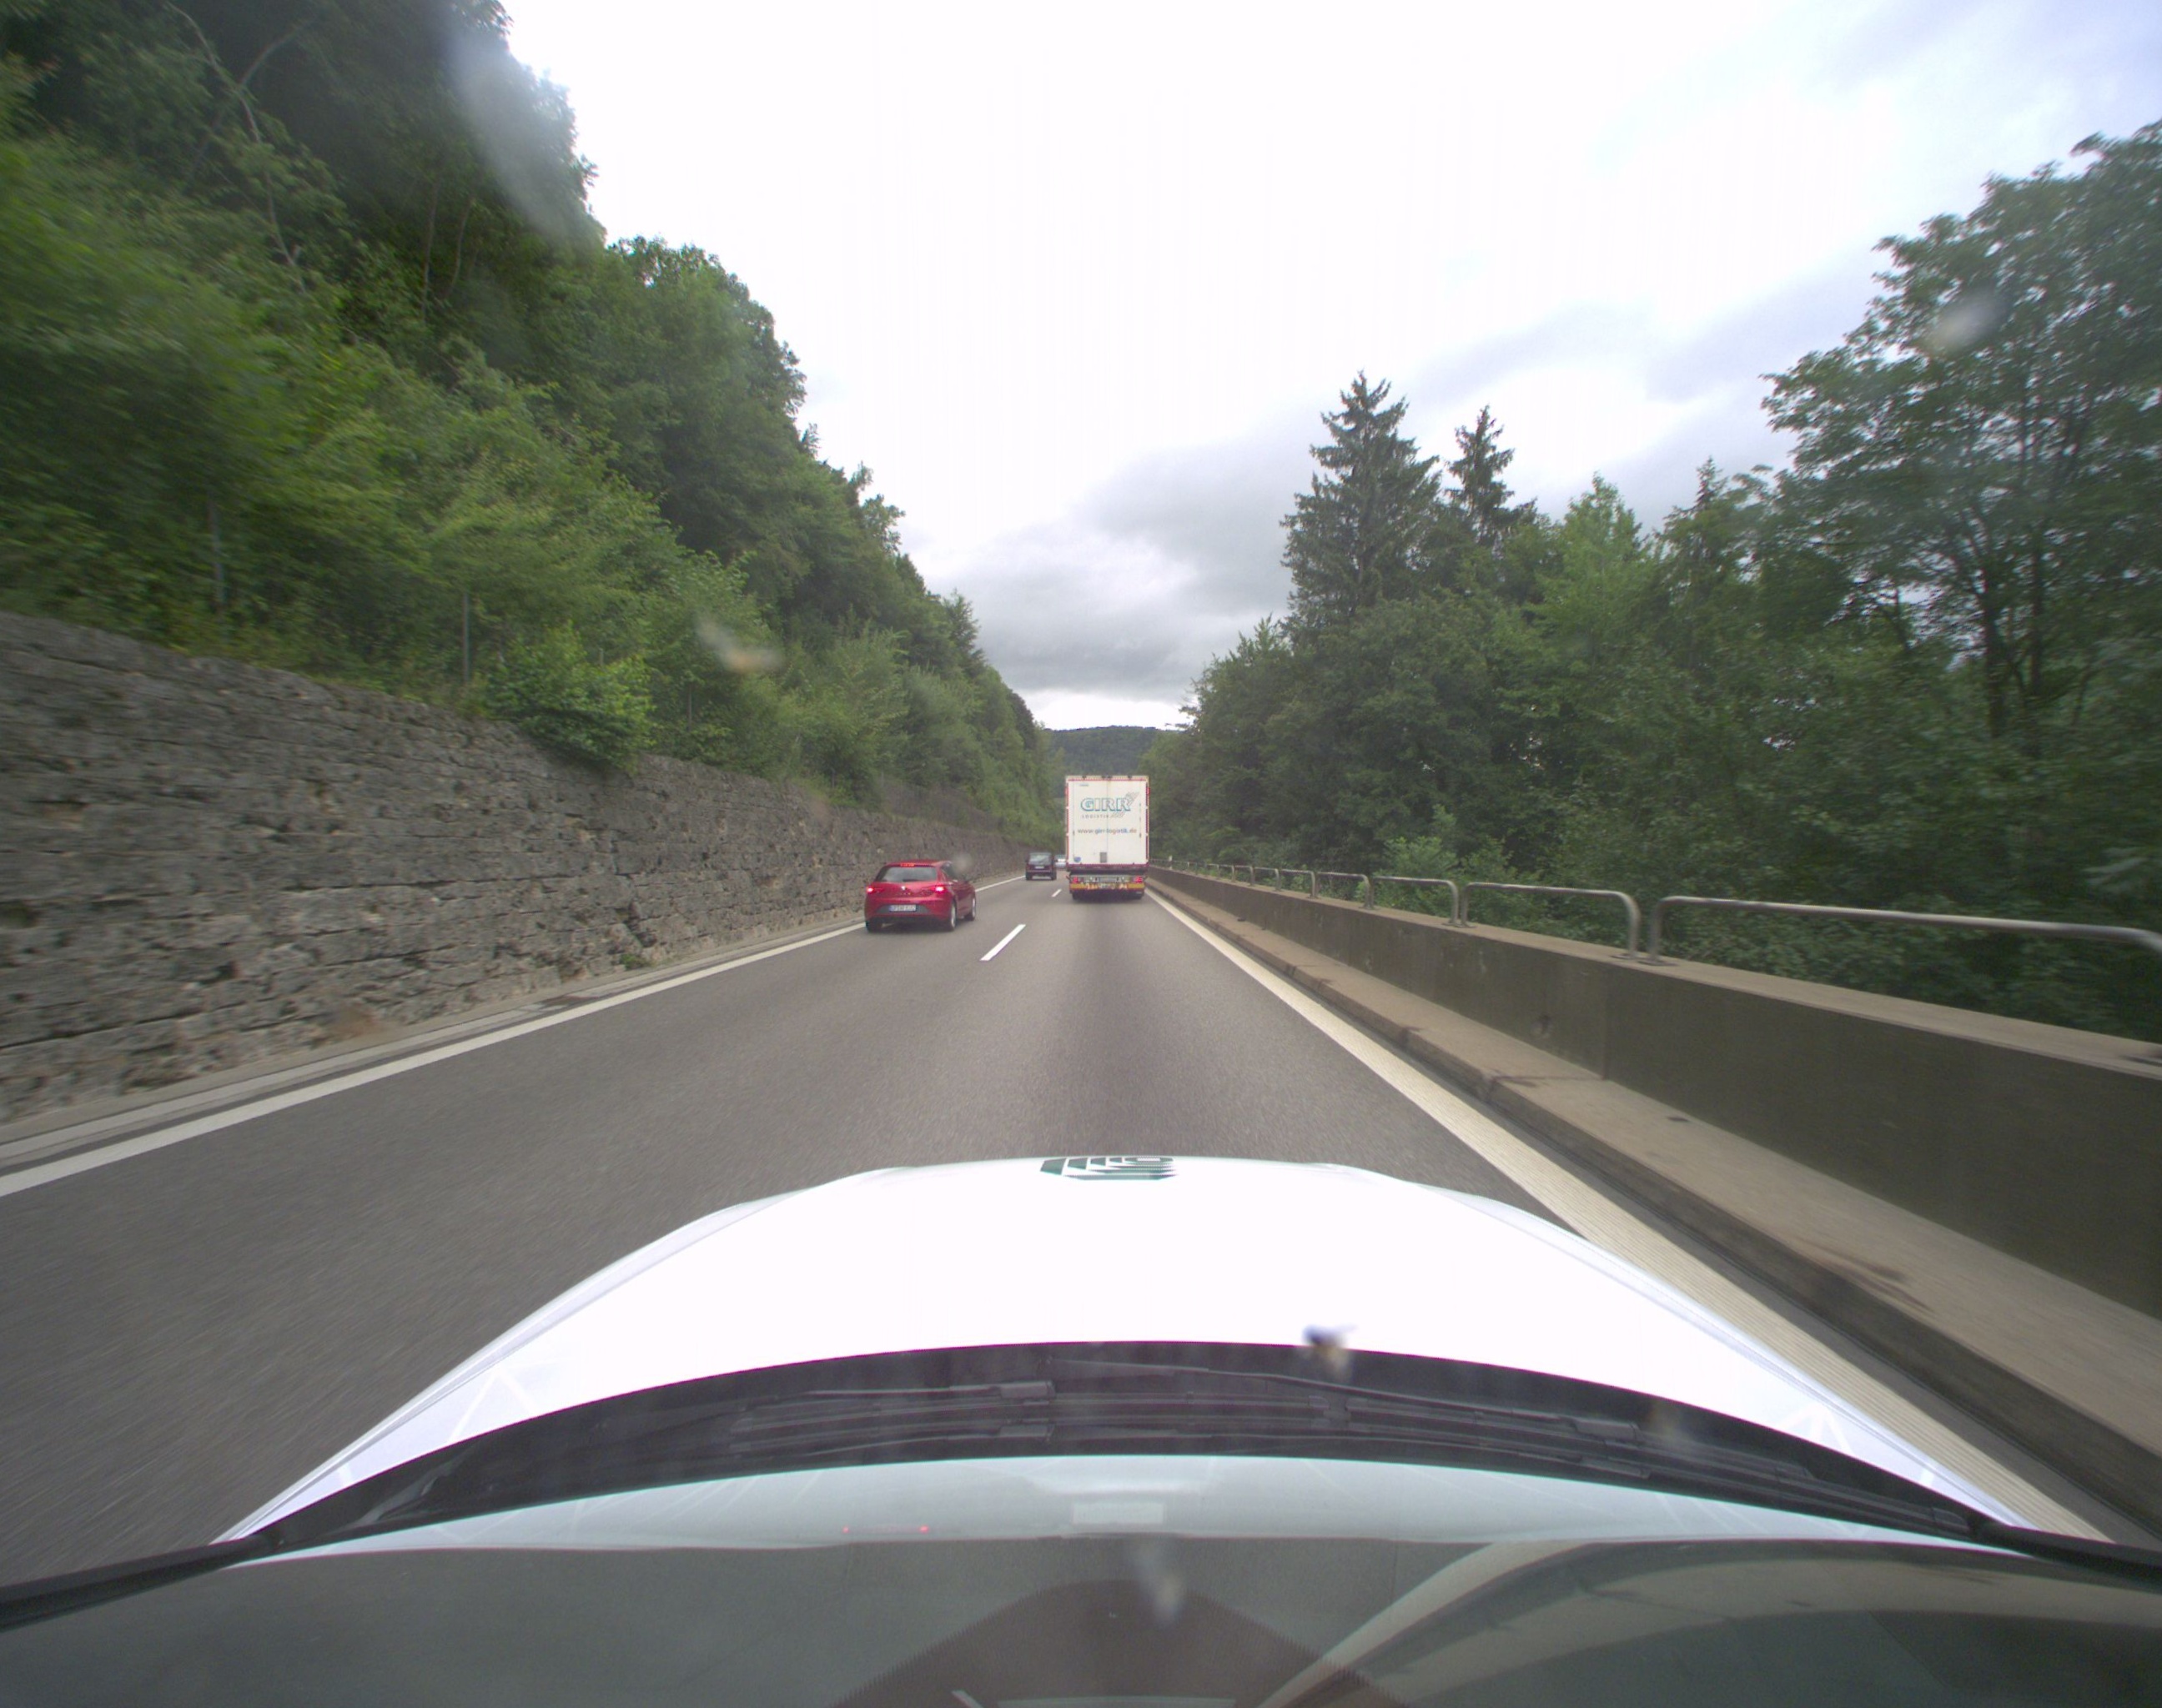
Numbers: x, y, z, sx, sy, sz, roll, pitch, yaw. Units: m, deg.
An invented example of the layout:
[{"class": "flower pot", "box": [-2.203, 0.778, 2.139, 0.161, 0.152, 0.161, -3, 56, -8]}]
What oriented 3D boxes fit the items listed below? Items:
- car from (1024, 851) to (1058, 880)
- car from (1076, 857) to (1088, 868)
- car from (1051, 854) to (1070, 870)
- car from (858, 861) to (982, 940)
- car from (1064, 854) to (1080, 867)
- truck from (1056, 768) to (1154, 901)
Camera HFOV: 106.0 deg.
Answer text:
[{"class": "car", "box": [-2.333, 0.693, 48.516, 1.663, 1.639, 4.069, -1, -1, 2]}, {"class": "car", "box": [0.107, 1.602, 148.234, 1.985, 2.014, 4.002, 0, -1, 3]}, {"class": "car", "box": [-2.004, 0.796, 80.330, 1.723, 1.486, 4.001, -1, -1, 1]}, {"class": "car", "box": [-3.316, 0.907, 17.641, 1.760, 1.460, 4.411, -1, -1, 0]}, {"class": "car", "box": [-1.148, 0.821, 106.861, 1.910, 1.595, 4.180, -1, -1, 1]}, {"class": "truck", "box": [0.889, -0.549, 29.079, 2.897, 3.961, 9.283, -1, 0, 2]}]
